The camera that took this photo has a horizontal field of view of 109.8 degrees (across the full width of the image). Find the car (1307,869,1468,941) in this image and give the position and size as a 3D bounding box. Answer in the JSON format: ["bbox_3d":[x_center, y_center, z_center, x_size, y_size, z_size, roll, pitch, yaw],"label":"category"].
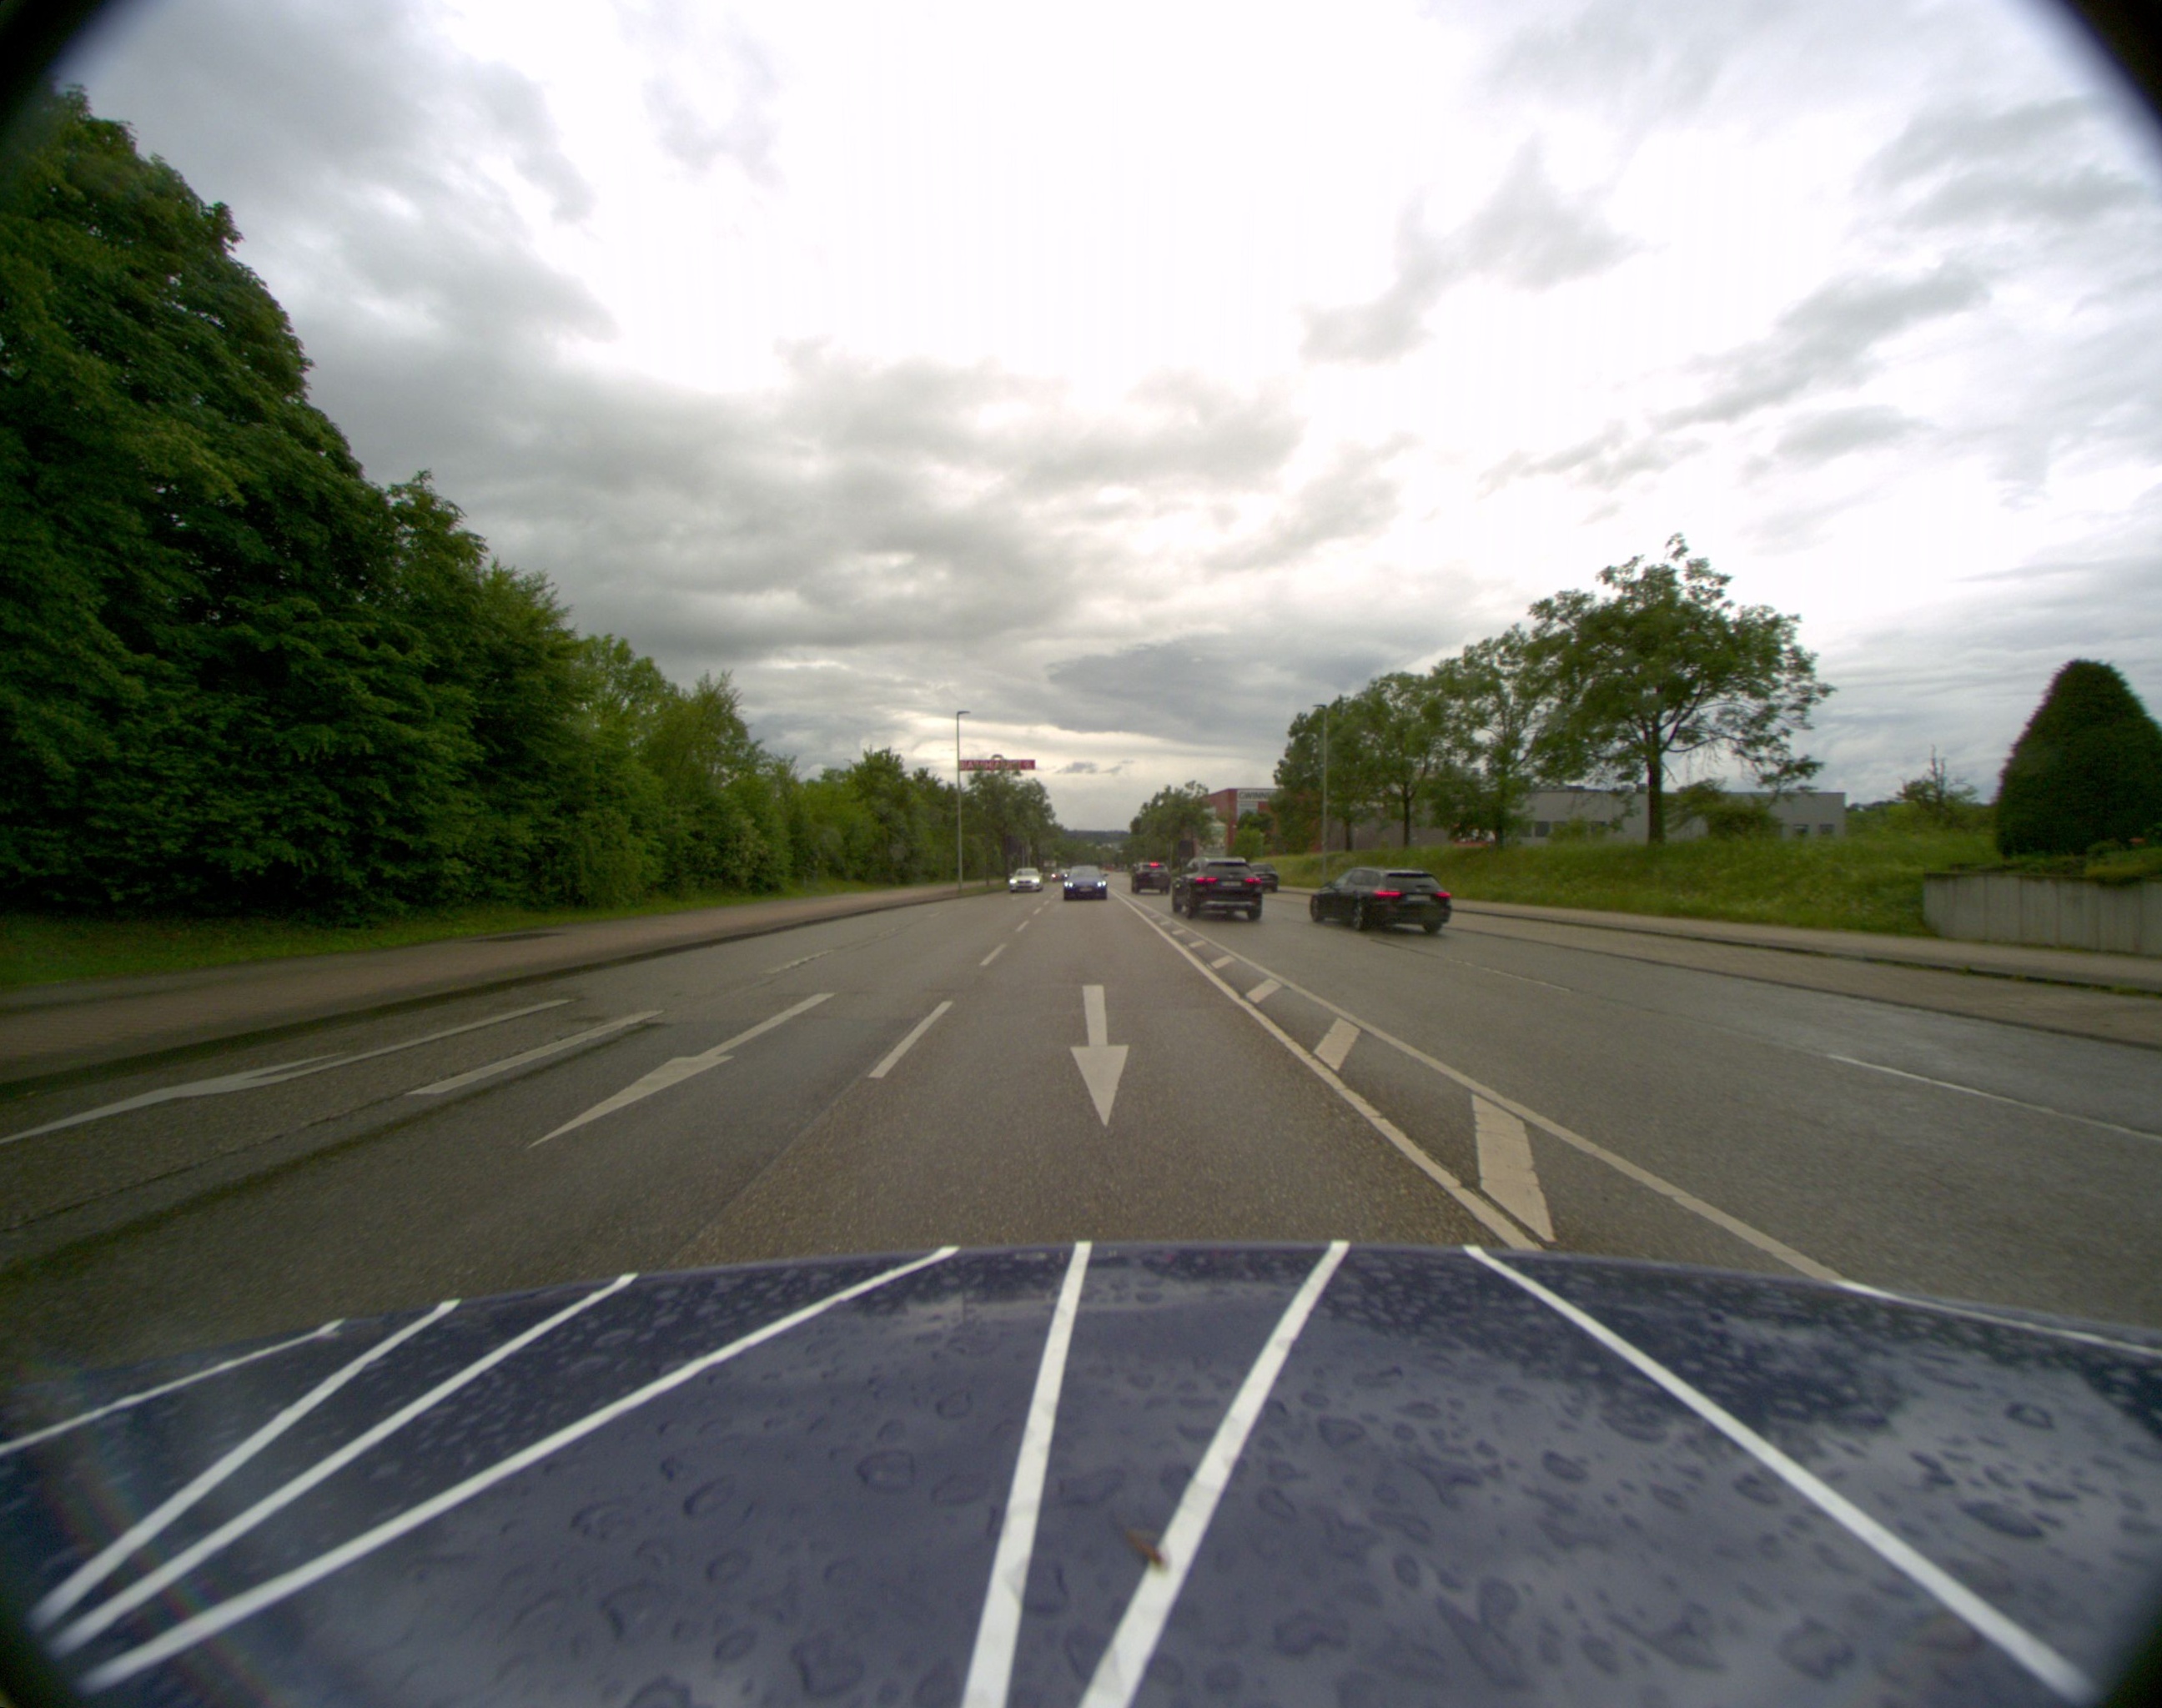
[{"bbox_3d":[6.960,1.103,17.791,1.798,1.393,4.299,1,0,-4],"label":"car"}]

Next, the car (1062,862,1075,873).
[{"bbox_3d":[-1.832,1.974,113.738,1.853,1.565,3.999,-1,0,-1],"label":"car"}]

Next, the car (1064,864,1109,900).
[{"bbox_3d":[0.328,1.186,33.826,1.827,1.473,4.842,0,-1,3],"label":"car"}]

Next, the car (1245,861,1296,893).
[{"bbox_3d":[10.596,1.248,42.757,1.730,1.658,4.488,-2,-1,0],"label":"car"}]

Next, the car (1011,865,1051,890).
[{"bbox_3d":[-3.072,1.466,47.464,1.863,1.473,4.002,-1,-1,5],"label":"car"}]

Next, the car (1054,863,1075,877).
[{"bbox_3d":[-1.971,1.917,91.234,2.113,1.609,4.842,-1,-1,3],"label":"car"}]

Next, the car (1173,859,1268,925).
[{"bbox_3d":[3.730,0.959,21.070,1.827,1.598,4.284,1,0,0],"label":"car"}]

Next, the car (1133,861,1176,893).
[{"bbox_3d":[3.814,1.202,40.239,1.800,1.574,4.198,1,-1,-1],"label":"car"}]
